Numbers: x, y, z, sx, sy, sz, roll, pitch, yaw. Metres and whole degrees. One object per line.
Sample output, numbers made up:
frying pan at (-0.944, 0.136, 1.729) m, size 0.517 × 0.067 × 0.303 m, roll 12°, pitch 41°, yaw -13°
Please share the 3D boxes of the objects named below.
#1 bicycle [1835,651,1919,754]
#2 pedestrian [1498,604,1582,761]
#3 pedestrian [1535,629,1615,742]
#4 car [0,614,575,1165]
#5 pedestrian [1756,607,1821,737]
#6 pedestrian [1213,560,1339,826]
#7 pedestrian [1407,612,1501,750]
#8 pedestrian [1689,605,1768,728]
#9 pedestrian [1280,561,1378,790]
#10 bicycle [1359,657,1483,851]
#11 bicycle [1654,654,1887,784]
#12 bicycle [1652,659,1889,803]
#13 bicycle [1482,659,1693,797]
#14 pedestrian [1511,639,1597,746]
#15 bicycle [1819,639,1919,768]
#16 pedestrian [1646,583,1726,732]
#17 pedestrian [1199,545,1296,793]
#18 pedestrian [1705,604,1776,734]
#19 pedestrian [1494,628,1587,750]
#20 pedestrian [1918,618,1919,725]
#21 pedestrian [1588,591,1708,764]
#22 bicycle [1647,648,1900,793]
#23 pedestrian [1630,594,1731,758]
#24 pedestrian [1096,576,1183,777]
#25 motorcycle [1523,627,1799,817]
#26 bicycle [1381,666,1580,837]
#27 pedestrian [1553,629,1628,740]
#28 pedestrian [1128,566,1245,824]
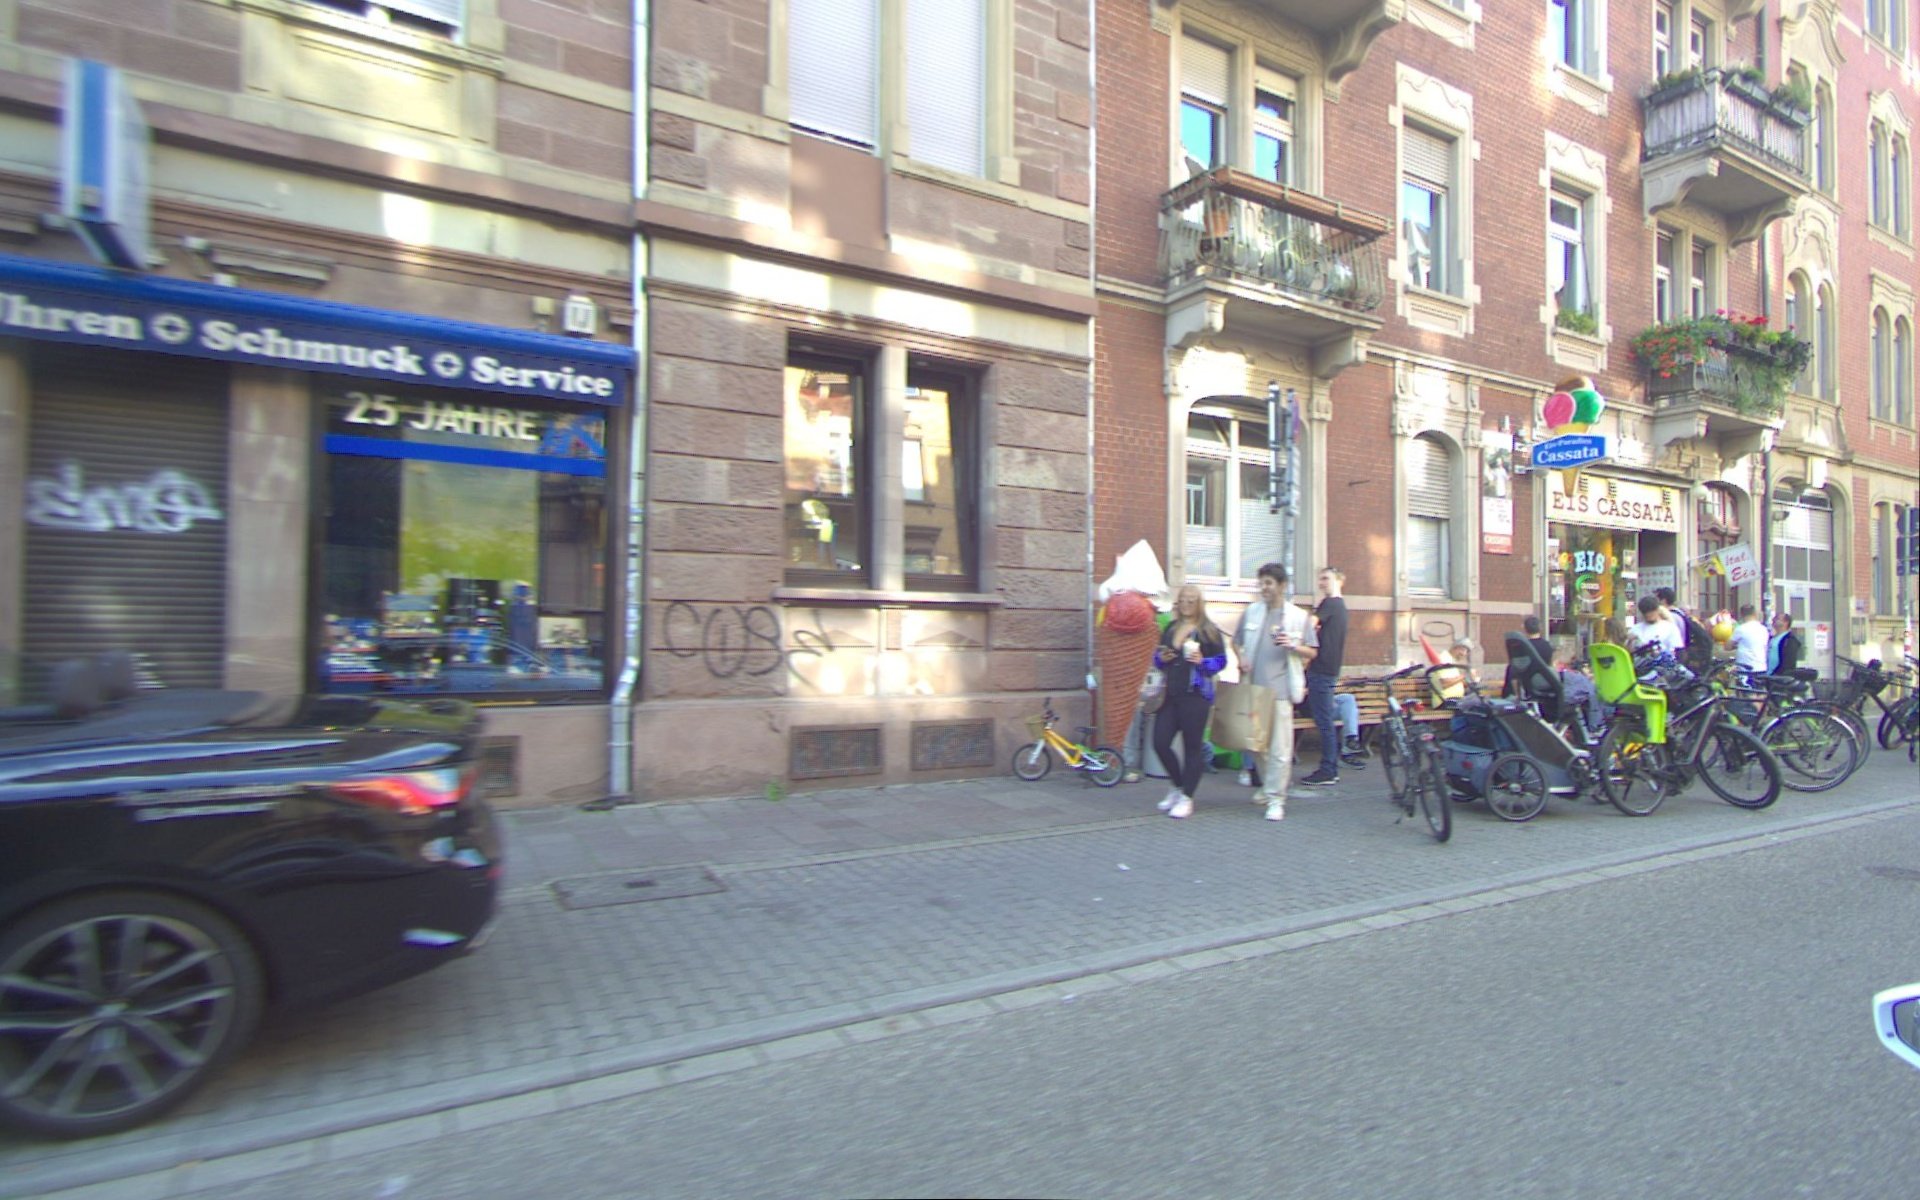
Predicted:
bicycle at (12.153, 1.251, 12.192) m, size 2.224 × 1.174 × 0.809 m, roll 1°, pitch 0°, yaw 8°
pedestrian at (6.266, 0.871, 10.858) m, size 0.577 × 1.638 × 0.550 m, roll 1°, pitch 0°, yaw -30°
pedestrian at (7.575, 1.034, 12.378) m, size 0.435 × 1.331 × 0.713 m, roll 1°, pitch 0°, yaw -33°
car at (-3.869, 0.715, 2.703) m, size 5.057 × 1.369 × 1.803 m, roll 2°, pitch -1°, yaw -31°
pedestrian at (11.325, 0.961, 13.743) m, size 0.555 × 1.718 × 0.646 m, roll 1°, pitch 0°, yaw 29°
pedestrian at (2.304, 0.650, 7.393) m, size 0.652 × 1.843 × 0.763 m, roll 1°, pitch 0°, yaw 0°
pedestrian at (5.509, 0.883, 11.224) m, size 0.714 × 1.489 × 0.604 m, roll 1°, pitch 0°, yaw -19°
pedestrian at (11.129, 0.937, 14.552) m, size 0.754 × 1.718 × 0.660 m, roll 1°, pitch 0°, yaw -30°
pedestrian at (3.212, 0.641, 8.787) m, size 0.589 × 1.917 × 0.648 m, roll 1°, pitch 0°, yaw 0°
bicycle at (3.196, 1.008, 7.071) m, size 0.366 × 1.132 × 1.583 m, roll 1°, pitch -1°, yaw 9°
bicycle at (8.049, 1.152, 10.059) m, size 1.705 × 1.135 × 0.555 m, roll 1°, pitch 0°, yaw 24°
bicycle at (7.241, 1.139, 9.063) m, size 1.540 × 1.135 × 0.590 m, roll 1°, pitch 0°, yaw 24°
bicycle at (5.492, 1.091, 8.793) m, size 1.710 × 1.105 × 0.578 m, roll 1°, pitch 0°, yaw -17°
pedestrian at (7.146, 1.089, 12.087) m, size 0.580 × 1.212 × 0.704 m, roll 1°, pitch 0°, yaw -34°
bicycle at (10.449, 1.123, 10.875) m, size 1.645 × 1.340 × 0.527 m, roll 1°, pitch 0°, yaw 25°
pedestrian at (9.501, 0.732, 13.173) m, size 0.749 × 1.878 × 0.664 m, roll 1°, pitch 0°, yaw 29°
pedestrian at (2.460, 0.575, 8.638) m, size 0.617 × 2.040 × 0.645 m, roll 1°, pitch -1°, yaw -2°
pedestrian at (10.710, 0.930, 13.801) m, size 0.654 × 1.718 × 0.585 m, roll 1°, pitch 0°, yaw 30°
pedestrian at (6.675, 1.003, 11.562) m, size 0.600 × 1.331 × 0.719 m, roll 1°, pitch 0°, yaw -33°
pedestrian at (15.214, 1.073, 15.209) m, size 0.821 × 1.683 × 0.904 m, roll 1°, pitch 0°, yaw -38°
pedestrian at (7.332, 0.804, 10.717) m, size 0.930 × 1.775 × 0.604 m, roll 1°, pitch 0°, yaw -18°
bicycle at (7.661, 1.101, 9.561) m, size 1.757 × 1.216 × 0.590 m, roll 1°, pitch 0°, yaw 24°
pedestrian at (8.085, 0.830, 11.280) m, size 0.714 × 1.775 × 0.604 m, roll 1°, pitch 0°, yaw -19°
pedestrian at (1.651, 0.686, 9.306) m, size 0.652 × 1.783 × 0.690 m, roll 1°, pitch 0°, yaw 0°
motorcycle at (5.638, 0.939, 8.088) m, size 1.990 × 1.403 × 0.707 m, roll 1°, pitch 0°, yaw -16°
bicycle at (3.858, 1.074, 7.593) m, size 0.402 × 1.044 × 1.684 m, roll 1°, pitch -1°, yaw -9°
pedestrian at (7.911, 1.046, 12.609) m, size 0.369 × 1.331 × 0.696 m, roll 1°, pitch 0°, yaw -33°
pedestrian at (1.635, 0.662, 7.355) m, size 0.652 × 1.783 × 0.763 m, roll 1°, pitch 0°, yaw 0°
